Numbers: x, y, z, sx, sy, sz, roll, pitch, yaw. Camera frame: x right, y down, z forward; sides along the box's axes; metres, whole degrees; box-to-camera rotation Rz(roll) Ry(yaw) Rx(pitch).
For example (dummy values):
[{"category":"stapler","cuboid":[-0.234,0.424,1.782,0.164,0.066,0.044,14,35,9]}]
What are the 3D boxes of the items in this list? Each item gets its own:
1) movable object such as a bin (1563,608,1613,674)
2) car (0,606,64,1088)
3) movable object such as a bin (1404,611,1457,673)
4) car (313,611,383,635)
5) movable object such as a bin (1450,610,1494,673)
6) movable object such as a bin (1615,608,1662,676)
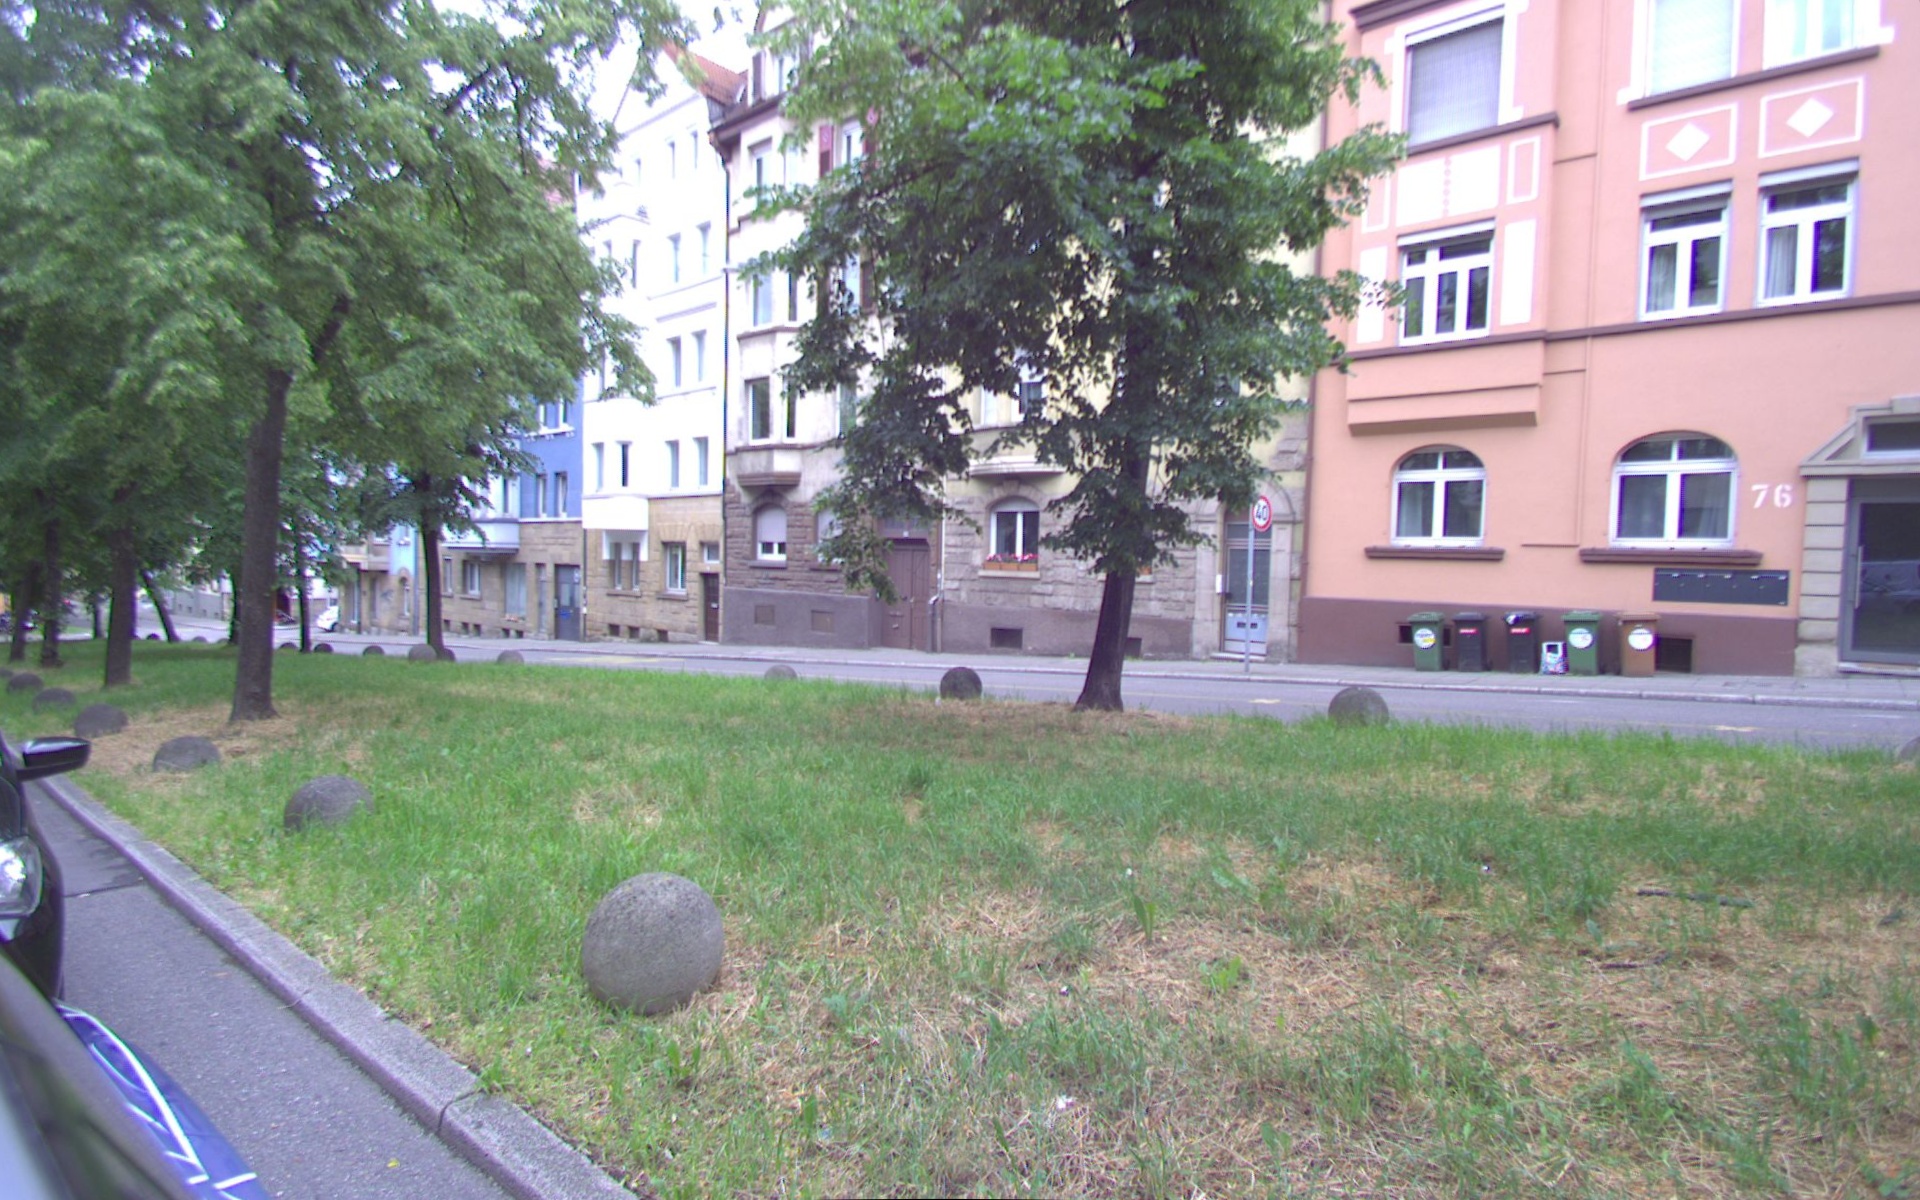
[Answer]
[{"category":"movable object such as a bin","cuboid":[9.159,0.585,14.762,0.559,0.928,0.648,-1,0,36]},{"category":"car","cuboid":[-4.618,0.756,3.693,3.295,1.476,1.590,-1,-2,41]},{"category":"movable object such as a bin","cuboid":[7.528,0.653,16.192,0.617,0.955,0.610,-1,0,40]},{"category":"car","cuboid":[-35.378,1.309,58.484,3.244,1.341,1.674,-1,0,-40]},{"category":"movable object such as a bin","cuboid":[8.001,0.636,15.820,0.531,0.953,0.575,-1,0,35]},{"category":"movable object such as a bin","cuboid":[9.635,0.579,14.356,0.514,0.928,0.750,-1,0,36]}]
